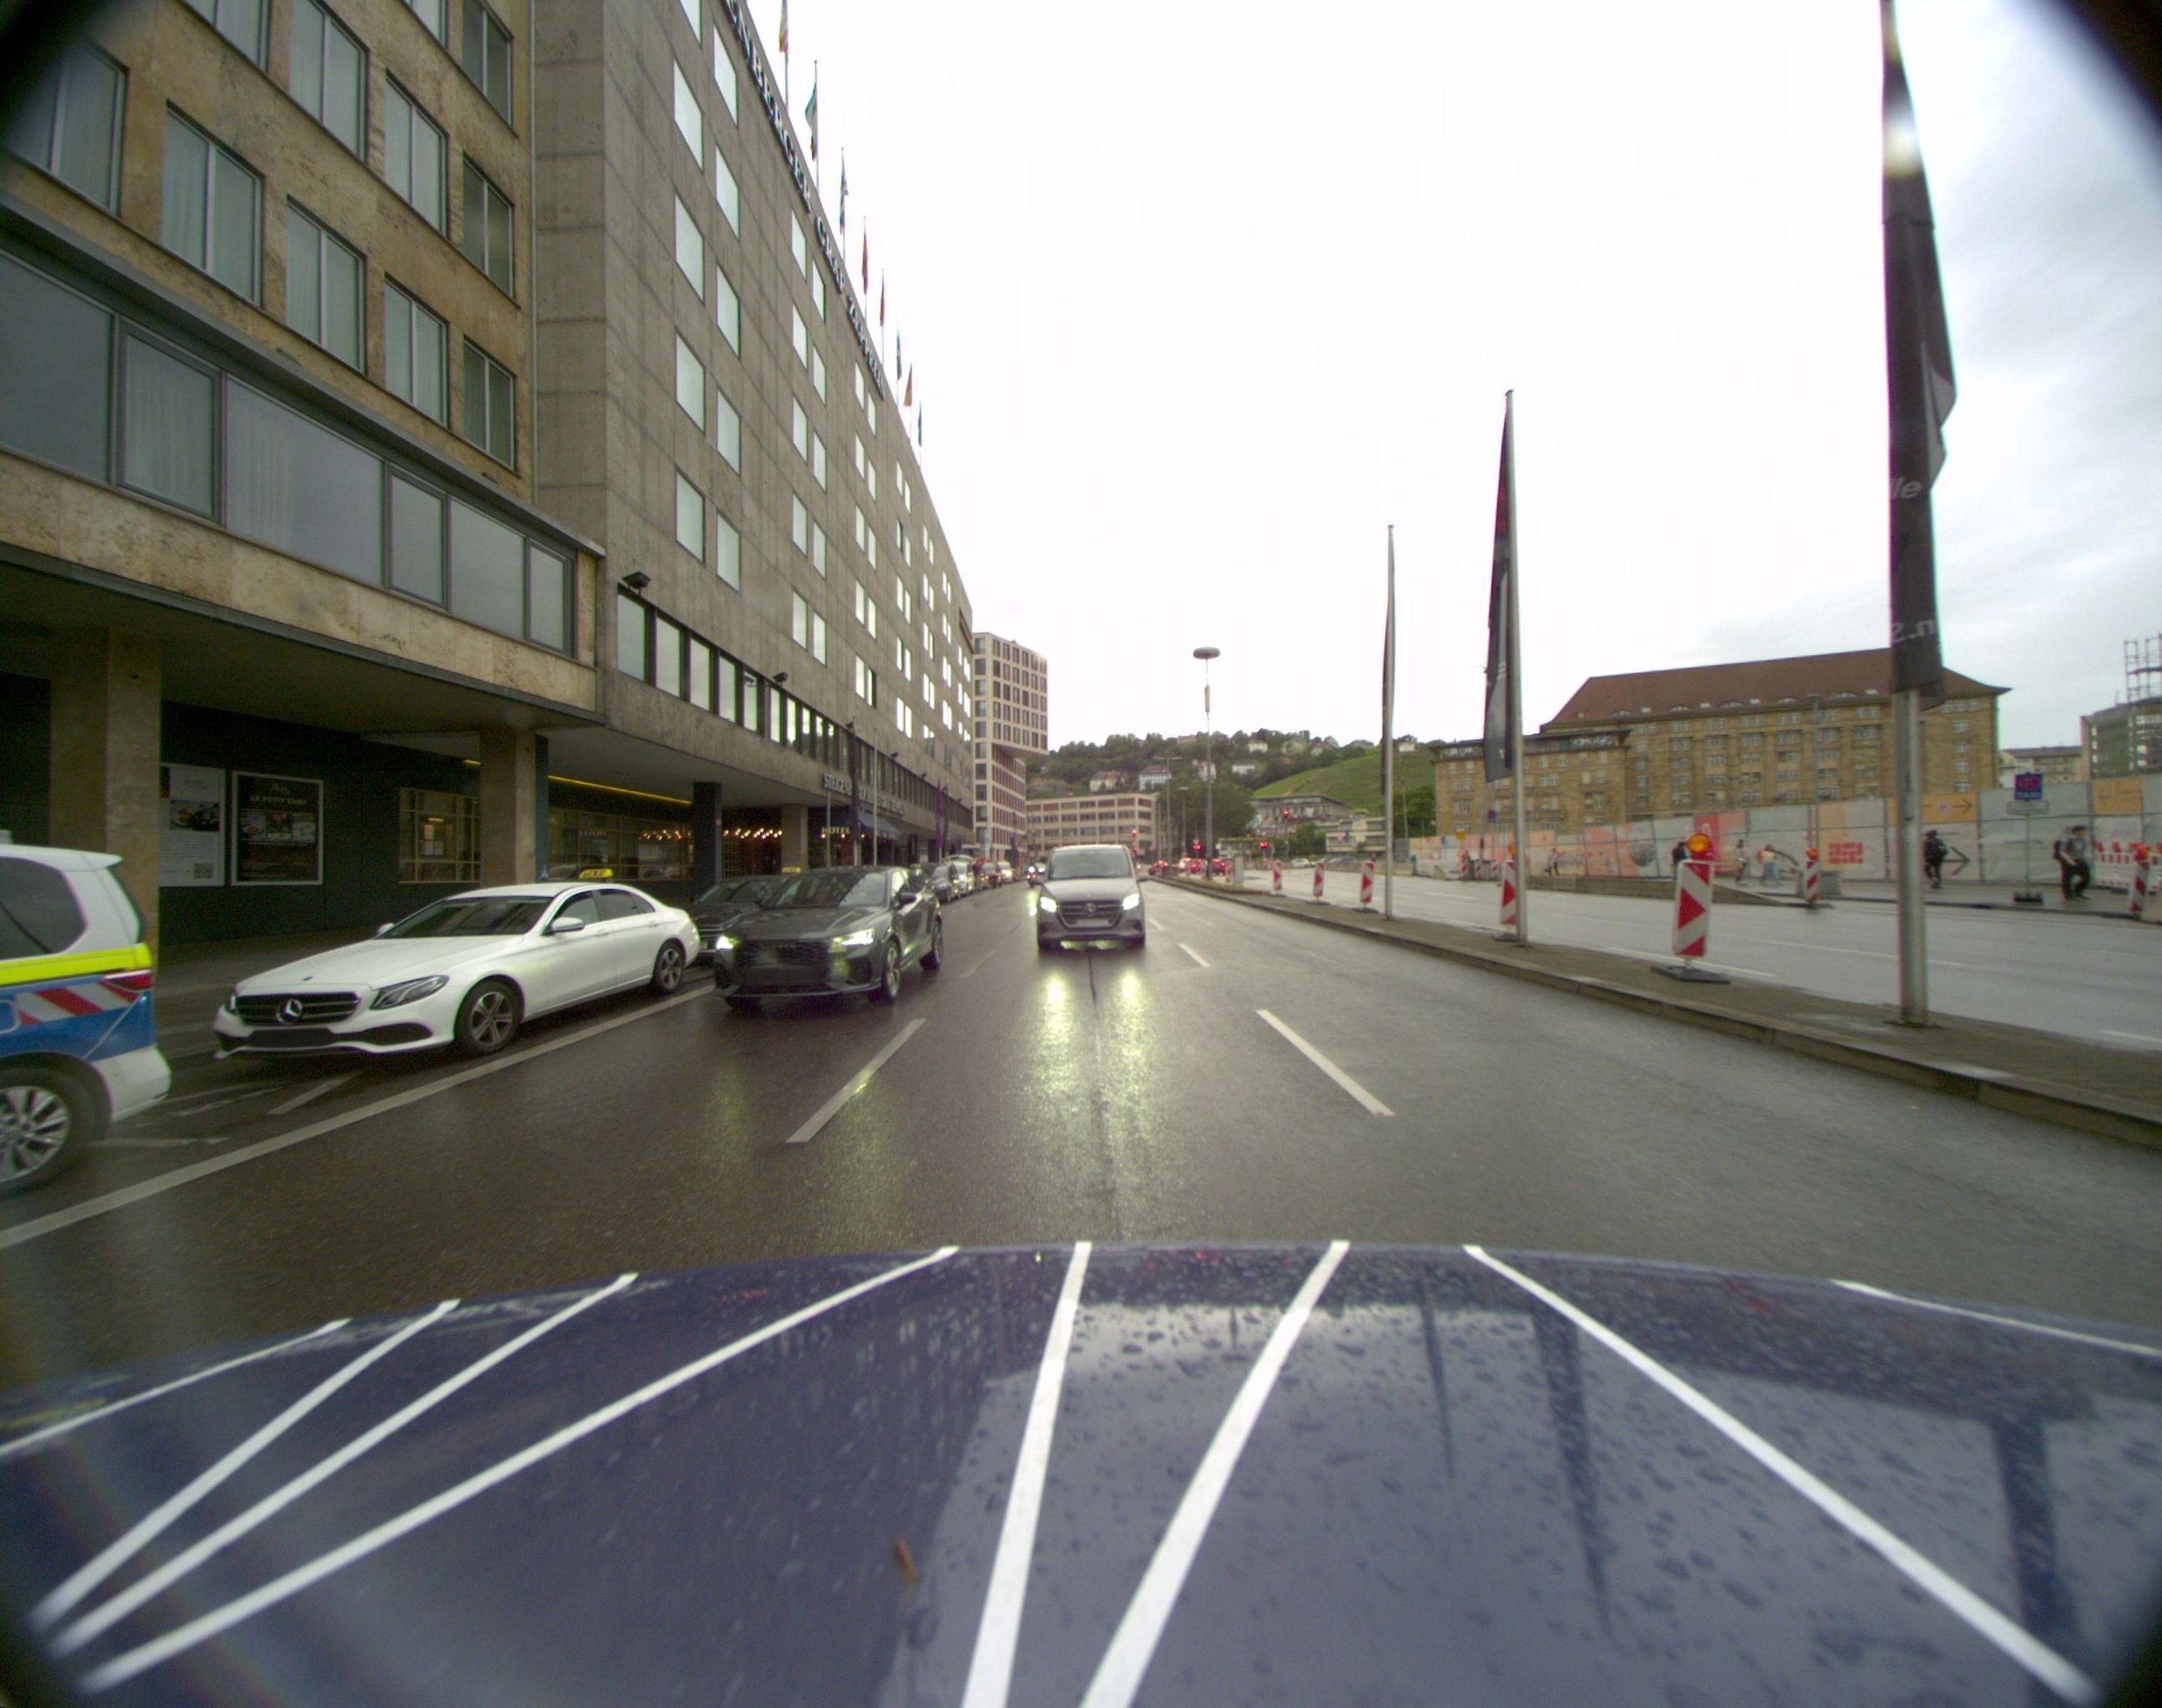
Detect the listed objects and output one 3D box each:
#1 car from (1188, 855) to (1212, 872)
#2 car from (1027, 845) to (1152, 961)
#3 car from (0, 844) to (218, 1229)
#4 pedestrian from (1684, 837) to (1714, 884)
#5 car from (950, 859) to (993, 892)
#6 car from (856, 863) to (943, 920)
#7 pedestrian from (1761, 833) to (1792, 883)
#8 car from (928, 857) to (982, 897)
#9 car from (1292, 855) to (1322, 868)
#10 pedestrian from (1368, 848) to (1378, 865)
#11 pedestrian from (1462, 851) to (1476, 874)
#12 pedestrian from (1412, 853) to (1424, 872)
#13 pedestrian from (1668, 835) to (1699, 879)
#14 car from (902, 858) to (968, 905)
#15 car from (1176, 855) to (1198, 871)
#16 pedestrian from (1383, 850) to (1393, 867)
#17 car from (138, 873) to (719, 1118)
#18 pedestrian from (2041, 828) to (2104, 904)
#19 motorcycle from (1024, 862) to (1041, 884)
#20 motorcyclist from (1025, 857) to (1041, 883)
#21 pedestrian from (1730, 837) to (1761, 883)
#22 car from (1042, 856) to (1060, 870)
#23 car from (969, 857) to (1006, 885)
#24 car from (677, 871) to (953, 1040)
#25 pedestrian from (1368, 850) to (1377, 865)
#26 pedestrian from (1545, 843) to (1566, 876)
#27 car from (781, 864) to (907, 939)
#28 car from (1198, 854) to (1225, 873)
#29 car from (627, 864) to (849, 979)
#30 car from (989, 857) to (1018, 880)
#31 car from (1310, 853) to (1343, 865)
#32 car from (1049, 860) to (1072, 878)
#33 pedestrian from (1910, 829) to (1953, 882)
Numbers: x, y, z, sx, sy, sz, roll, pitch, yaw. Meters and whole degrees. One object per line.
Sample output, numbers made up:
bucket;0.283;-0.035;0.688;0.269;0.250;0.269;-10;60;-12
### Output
car;12.290;0.965;78.931;1.785;1.684;3.916;-2;0;-1
car;0.182;0.790;15.120;1.998;1.849;5.160;-2;0;1
car;-6.332;0.948;2.220;1.879;1.909;4.935;-2;0;0
pedestrian;25.010;0.257;30.746;0.714;1.825;0.718;-2;1;19
car;-6.109;1.168;42.725;1.731;1.604;4.001;-2;0;0
car;-6.039;1.187;25.849;1.731;1.583;4.814;-2;0;0
pedestrian;26.204;0.146;28.631;0.661;1.825;0.556;-2;1;21
car;-6.077;1.048;37.218;1.731;1.732;4.814;-2;0;0
car;34.679;1.113;116.652;4.194;1.846;1.832;-2;1;6
pedestrian;28.298;0.268;73.529;0.715;1.606;0.544;-2;1;1
pedestrian;27.288;0.596;53.449;0.715;1.606;0.544;-2;1;1
pedestrian;29.325;0.731;66.154;0.715;1.606;0.544;-2;1;1
pedestrian;23.850;0.111;30.086;0.714;1.723;0.718;-2;1;19
car;-6.042;1.076;32.021;1.731;1.732;4.814;-2;0;0
car;11.871;0.944;85.396;1.785;1.684;3.916;-2;0;-1
pedestrian;29.583;0.438;73.130;0.715;1.606;0.544;-2;1;1
car;-6.097;1.126;8.222;1.879;1.628;5.011;-2;0;0
pedestrian;24.510;0.290;18.791;0.587;1.825;0.717;-2;1;1
motorcycle;-2.996;1.151;46.912;0.848;1.299;1.965;-2;1;1
motorcyclist;-2.947;0.977;46.834;0.861;1.519;0.844;-2;1;1
pedestrian;25.707;0.232;29.405;0.714;1.734;0.564;-2;1;21
car;-3.266;0.963;82.908;1.869;1.461;3.999;-2;0;-2
car;-5.853;1.028;47.904;1.731;1.604;4.001;-2;0;0
car;-3.021;1.066;9.759;1.883;1.493;4.342;-2;0;1
pedestrian;30.753;0.368;80.073;0.715;1.606;0.544;-2;1;1
pedestrian;26.295;0.307;42.150;0.664;1.825;0.720;-2;1;1
car;-6.040;1.143;20.034;1.731;1.583;4.814;-2;0;0
car;12.228;0.879;71.367;1.785;1.684;3.916;-1;0;0
car;-6.077;1.091;14.228;1.879;1.628;4.814;-2;0;0
car;-5.878;1.102;58.225;1.731;1.604;4.001;-2;0;0
car;32.926;0.685;102.076;3.993;1.622;2.002;-1;0;14
car;-1.835;1.280;65.997;1.869;1.461;3.999;-2;0;-2
pedestrian;26.929;0.044;24.056;0.715;1.606;0.544;-2;1;1
